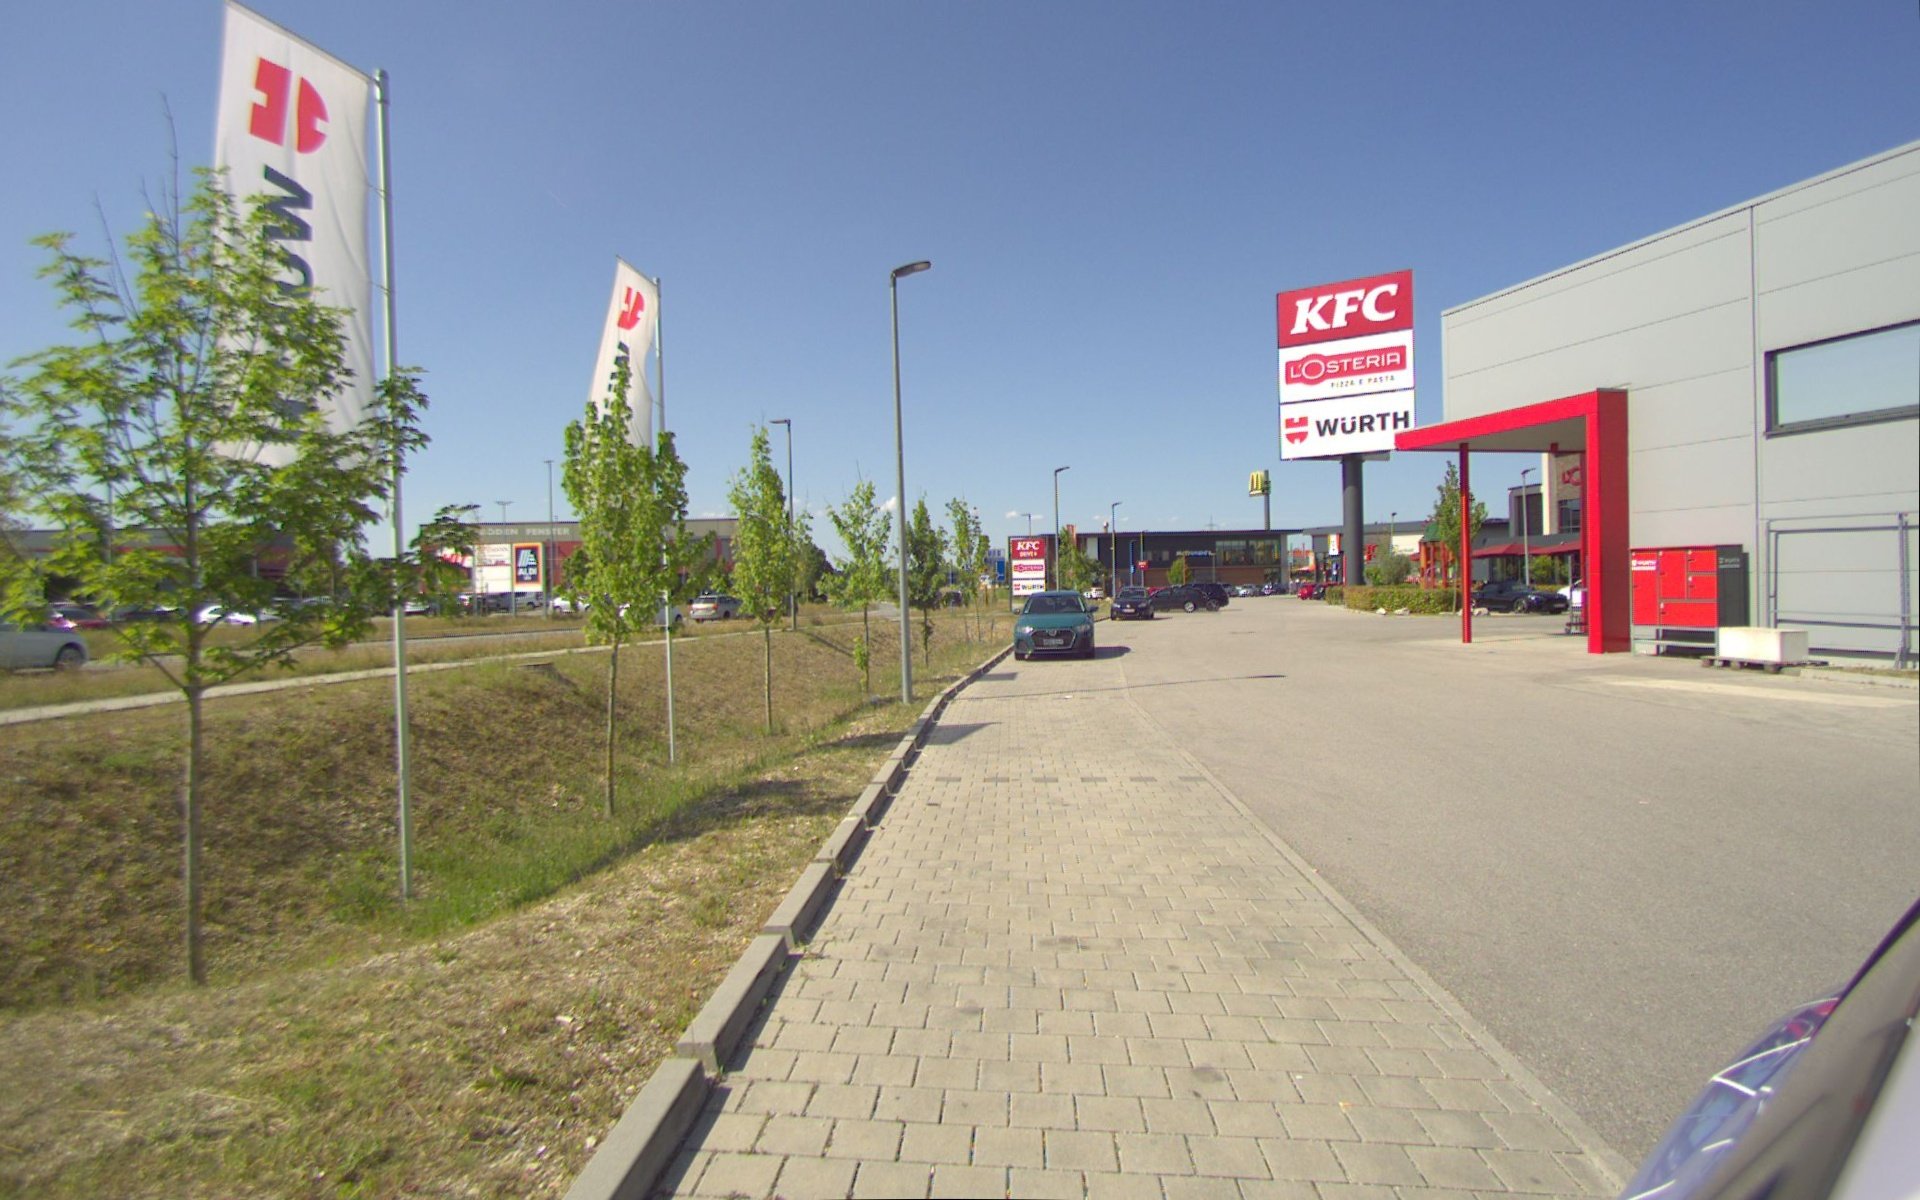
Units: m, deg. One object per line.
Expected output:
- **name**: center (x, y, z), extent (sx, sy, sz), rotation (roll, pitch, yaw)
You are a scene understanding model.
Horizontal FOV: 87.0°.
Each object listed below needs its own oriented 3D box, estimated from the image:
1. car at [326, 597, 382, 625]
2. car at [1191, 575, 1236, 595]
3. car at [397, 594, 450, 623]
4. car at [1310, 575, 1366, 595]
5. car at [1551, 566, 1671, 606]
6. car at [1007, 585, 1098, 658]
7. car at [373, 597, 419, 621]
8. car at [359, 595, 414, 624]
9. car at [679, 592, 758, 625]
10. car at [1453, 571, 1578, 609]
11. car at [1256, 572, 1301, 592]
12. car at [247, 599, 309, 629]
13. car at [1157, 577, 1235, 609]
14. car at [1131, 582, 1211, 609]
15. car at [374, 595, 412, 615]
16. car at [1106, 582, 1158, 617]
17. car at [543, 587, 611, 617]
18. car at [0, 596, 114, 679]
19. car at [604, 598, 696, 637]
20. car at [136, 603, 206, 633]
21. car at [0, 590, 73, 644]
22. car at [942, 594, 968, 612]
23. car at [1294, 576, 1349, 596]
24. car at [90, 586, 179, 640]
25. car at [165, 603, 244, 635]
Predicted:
- **car**: center (-46.941, 0.815, 78.499), extent (1.960, 2.063, 4.489), rotation (-2, 1, -5)
- **car**: center (28.217, -1.681, 112.662), extent (4.395, 2.039, 2.002), rotation (-2, 0, -6)
- **car**: center (-41.505, 0.605, 78.363), extent (1.960, 2.063, 4.489), rotation (-2, 1, -5)
- **car**: center (32.093, -1.242, 85.992), extent (4.014, 1.585, 1.881), rotation (-1, 0, -5)
- **car**: center (26.060, -0.535, 40.691), extent (1.766, 1.493, 3.921), rotation (-1, 1, -12)
- **car**: center (2.175, 0.416, 22.792), extent (1.815, 1.468, 4.217), rotation (-1, 1, 8)
- **car**: center (-51.134, 0.795, 91.858), extent (1.960, 2.063, 4.489), rotation (-2, 1, -5)
- **car**: center (-44.270, 0.715, 78.241), extent (1.960, 2.063, 4.489), rotation (-2, 1, -5)
- **car**: center (-12.606, 0.413, 53.116), extent (1.920, 1.570, 4.737), rotation (-2, 1, 16)
- **car**: center (21.497, -0.365, 39.342), extent (1.792, 1.354, 4.163), rotation (-2, 1, -17)
- **car**: center (36.463, -2.046, 115.890), extent (4.395, 2.039, 2.002), rotation (-2, 0, -6)
- **car**: center (-52.175, 1.033, 77.479), extent (1.960, 2.063, 4.489), rotation (-2, 1, -5)
- **car**: center (14.649, -0.427, 62.905), extent (4.478, 1.859, 1.986), rotation (-1, 0, 21)
- **car**: center (12.300, -0.272, 59.241), extent (4.461, 1.477, 1.994), rotation (-1, 0, 11)
- **car**: center (-63.371, 0.572, 113.134), extent (1.960, 2.063, 4.489), rotation (-2, 1, -5)
- **car**: center (7.920, -0.073, 46.271), extent (1.852, 1.484, 4.342), rotation (-1, 1, 16)
- **car**: center (-29.417, 0.143, 77.824), extent (4.408, 2.063, 1.996), rotation (-2, 0, 7)
- **car**: center (-19.273, 0.761, 20.043), extent (1.710, 1.570, 3.779), rotation (-2, 1, 4)
- **car**: center (-14.141, 0.772, 46.508), extent (1.917, 1.570, 4.743), rotation (-2, 1, 13)
- **car**: center (-59.548, 1.333, 76.463), extent (1.960, 2.063, 4.489), rotation (-2, 1, -5)
- **car**: center (-52.318, 0.927, 56.647), extent (1.959, 2.857, 4.492), rotation (-2, 1, -11)
- **car**: center (-0.465, 0.293, 97.886), extent (1.914, 1.570, 4.752), rotation (-2, 1, 7)
- **car**: center (31.670, -1.219, 88.695), extent (4.014, 1.585, 1.881), rotation (-1, 0, -5)
- **car**: center (-47.027, 0.706, 57.751), extent (1.959, 2.857, 4.492), rotation (-2, 1, -11)
- **car**: center (-47.685, 1.172, 63.979), extent (1.960, 1.806, 4.319), rotation (-2, 1, -5)
